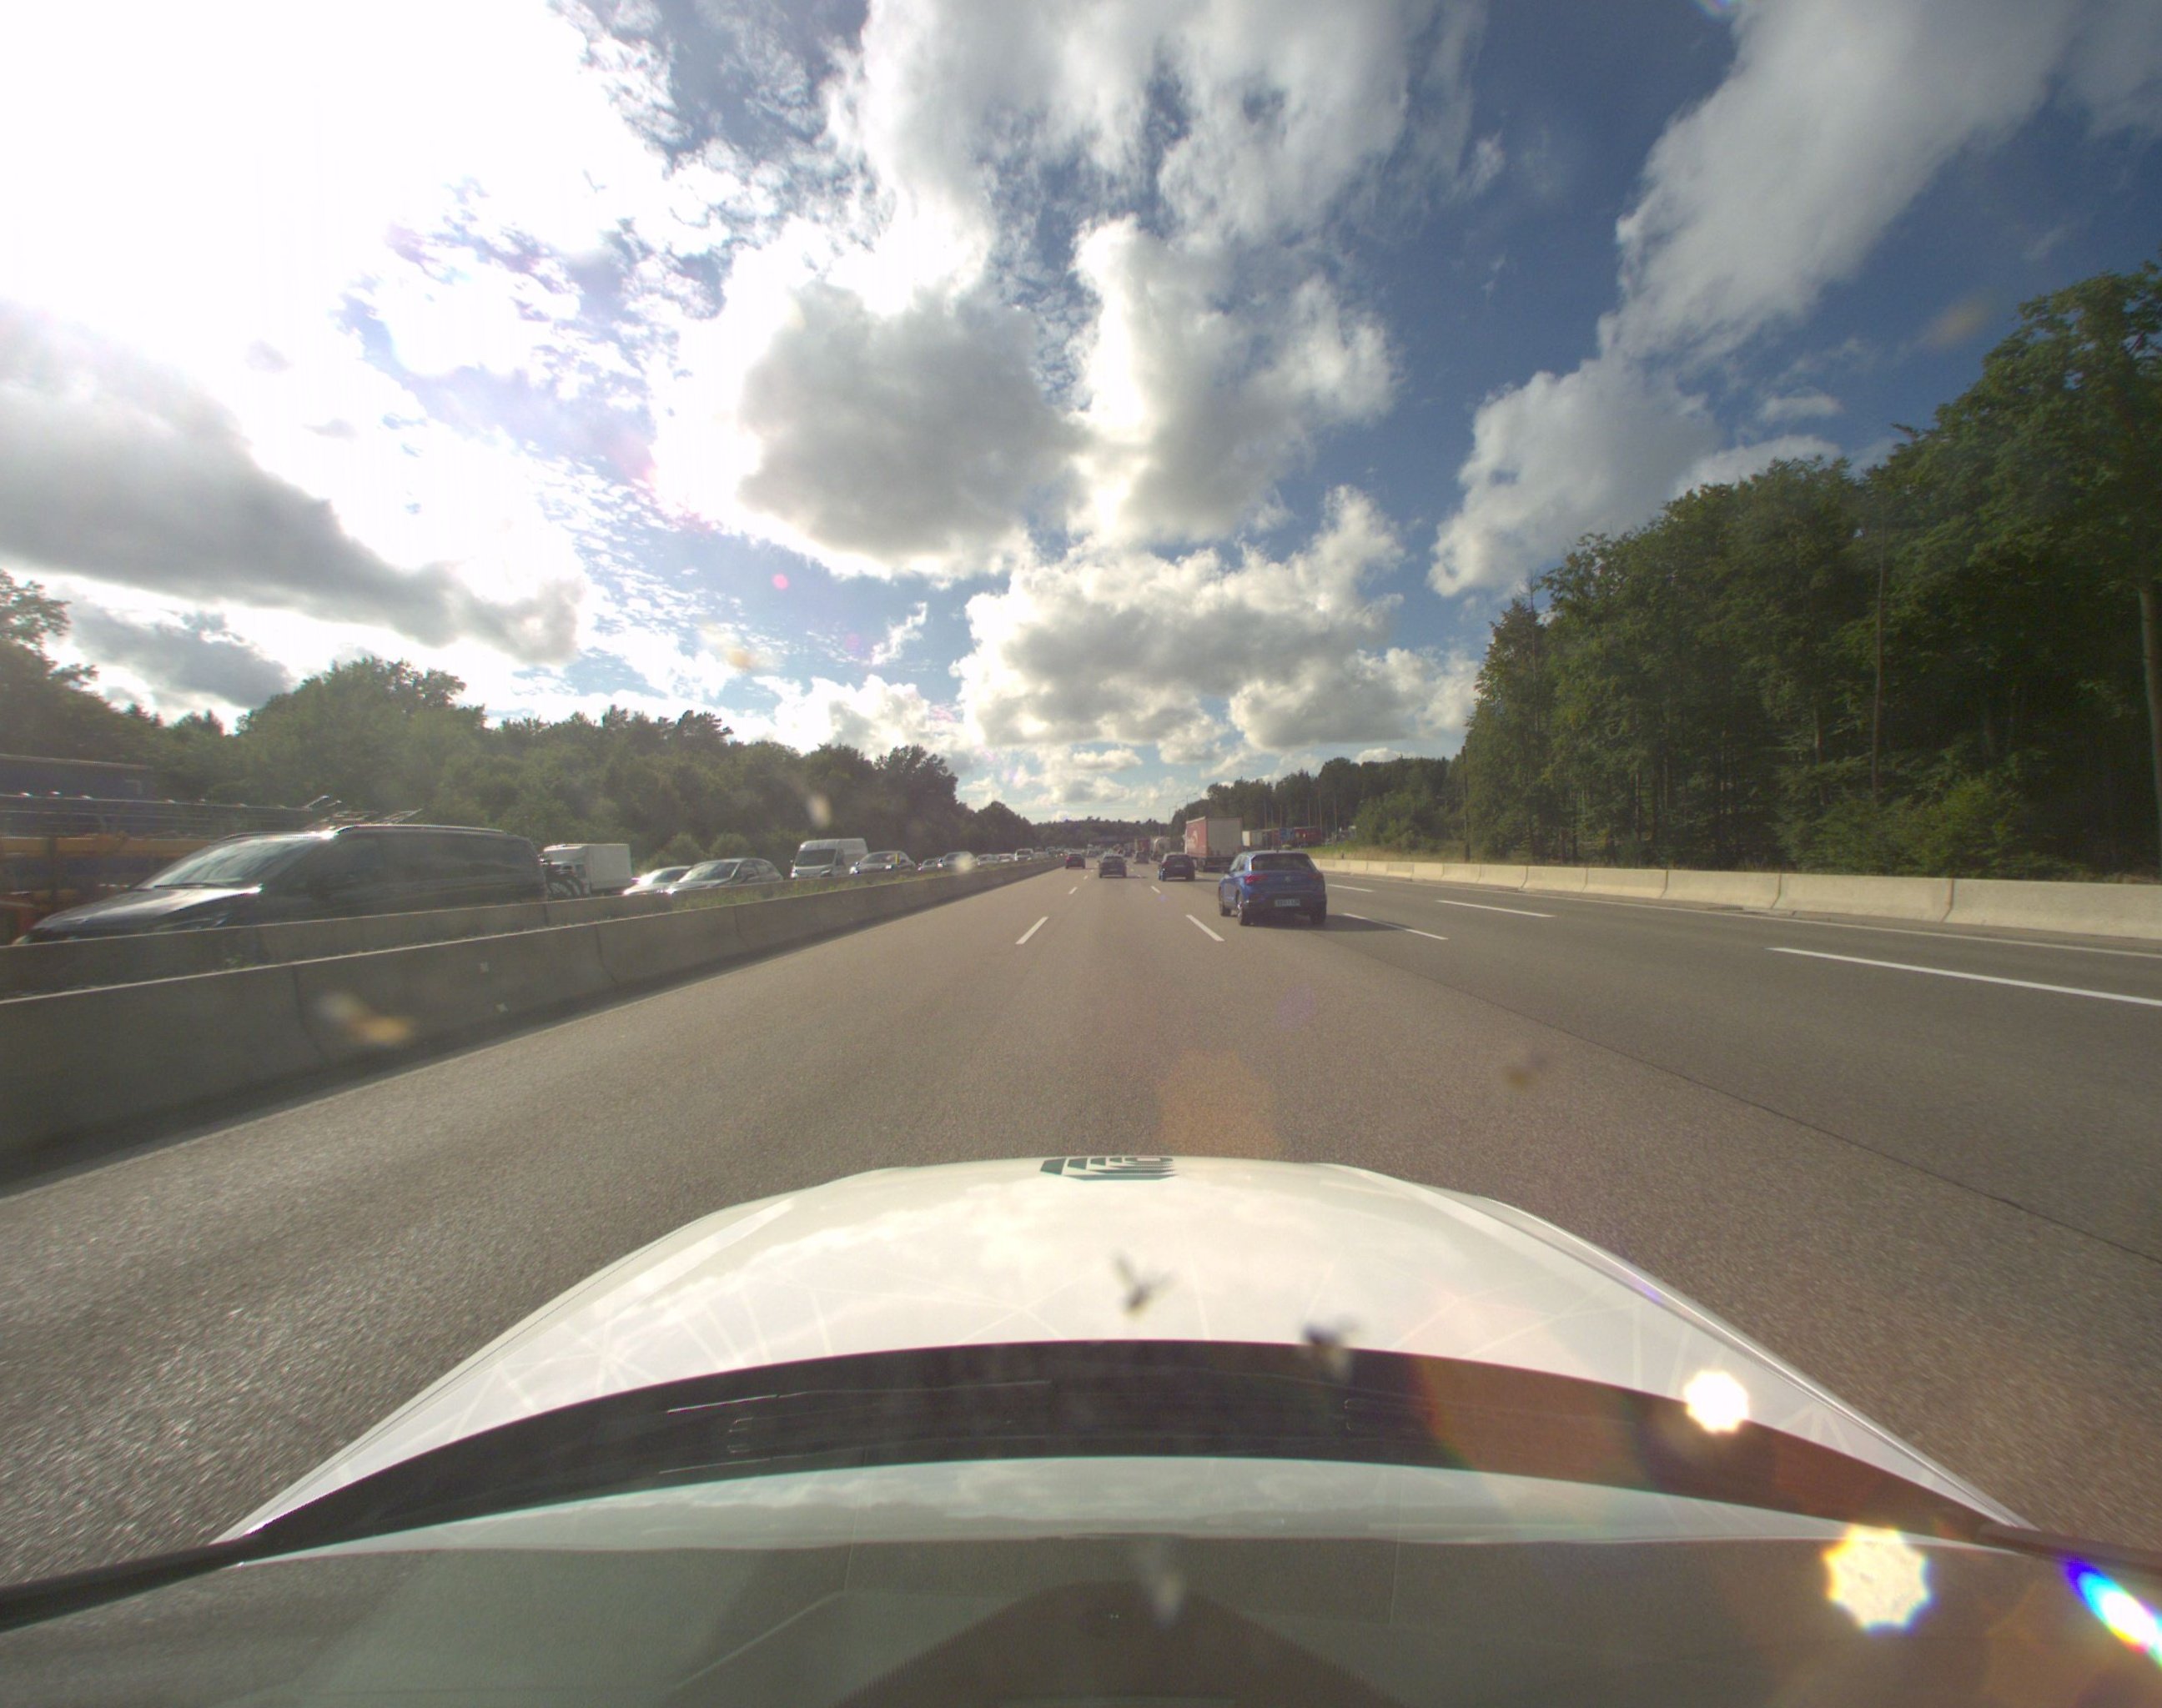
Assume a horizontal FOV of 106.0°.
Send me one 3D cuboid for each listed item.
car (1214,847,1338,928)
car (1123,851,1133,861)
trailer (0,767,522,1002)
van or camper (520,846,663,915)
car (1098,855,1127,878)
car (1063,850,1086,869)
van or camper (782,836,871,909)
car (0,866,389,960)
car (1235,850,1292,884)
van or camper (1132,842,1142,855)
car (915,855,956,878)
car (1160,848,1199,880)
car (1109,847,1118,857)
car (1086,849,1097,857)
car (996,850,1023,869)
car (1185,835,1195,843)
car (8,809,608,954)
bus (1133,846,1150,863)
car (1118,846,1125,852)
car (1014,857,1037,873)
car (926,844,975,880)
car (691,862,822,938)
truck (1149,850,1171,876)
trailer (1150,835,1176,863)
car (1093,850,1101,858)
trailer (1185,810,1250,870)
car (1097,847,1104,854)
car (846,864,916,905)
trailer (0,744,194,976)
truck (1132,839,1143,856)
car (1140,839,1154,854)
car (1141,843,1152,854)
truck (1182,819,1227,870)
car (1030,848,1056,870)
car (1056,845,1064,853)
[{"bbox_3d":[4.222,0.647,18.377,1.916,1.541,4.650,1,1,3],"label":"car"},{"bbox_3d":[9.731,0.415,169.593,1.986,2.014,4.001,0,-1,2],"label":"car"},{"bbox_3d":[-16.608,0.427,14.907,2.718,3.335,14.222,-1,0,1],"label":"trailer"},{"bbox_3d":[-23.927,1.208,40.321,2.563,3.077,7.197,-1,0,1],"label":"van or camper"},{"bbox_3d":[1.949,0.774,51.752,1.728,1.365,4.000,0,0,0],"label":"car"},{"bbox_3d":[-0.590,0.498,79.597,1.986,1.776,4.002,0,0,2],"label":"car"},{"bbox_3d":[-11.883,0.816,38.582,2.131,3.172,6.245,0,0,1],"label":"van or camper"},{"bbox_3d":[-12.793,0.759,12.085,1.579,1.127,4.001,0,0,1],"label":"car"},{"bbox_3d":[8.746,0.617,39.322,1.710,1.511,4.300,-2,-1,-1],"label":"car"},{"bbox_3d":[13.494,-1.294,195.886,2.341,3.144,5.715,-1,-1,3],"label":"van or camper"},{"bbox_3d":[-10.735,0.955,60.401,1.985,1.596,4.527,0,-1,3],"label":"car"},{"bbox_3d":[5.328,0.549,44.265,1.792,1.644,4.002,0,-1,2],"label":"car"},{"bbox_3d":[7.591,-0.444,189.321,1.986,2.014,4.001,-2,-2,2],"label":"car"},{"bbox_3d":[2.157,-0.213,172.242,2.146,1.776,4.002,0,-1,2],"label":"car"},{"bbox_3d":[-6.721,0.506,76.895,1.986,1.735,5.093,0,0,2],"label":"car"},{"bbox_3d":[28.334,-3.892,211.625,1.986,2.013,4.002,-2,0,2],"label":"car"},{"bbox_3d":[-8.977,0.260,10.667,1.808,1.349,6.234,0,0,1],"label":"car"},{"bbox_3d":[7.453,0.041,101.005,1.986,2.014,4.002,-1,-1,2],"label":"bus"},{"bbox_3d":[12.905,-1.597,259.038,1.986,2.014,4.002,0,0,2],"label":"car"},{"bbox_3d":[-6.066,1.193,89.621,1.985,1.572,4.819,-1,0,3],"label":"car"},{"bbox_3d":[-7.573,0.431,47.575,1.874,2.013,4.523,0,0,3],"label":"car"},{"bbox_3d":[-8.494,1.158,21.740,1.681,1.816,4.296,-1,-1,1],"label":"car"},{"bbox_3d":[12.789,1.438,132.279,3.034,4.160,7.130,-1,-1,2],"label":"truck"},{"bbox_3d":[12.584,-0.654,126.044,3.025,4.016,12.248,-1,-1,2],"label":"trailer"},{"bbox_3d":[3.904,0.001,201.004,1.986,2.013,4.002,0,0,2],"label":"car"},{"bbox_3d":[10.206,-0.802,62.555,3.027,4.035,13.894,-1,-1,2],"label":"trailer"},{"bbox_3d":[5.708,-1.101,239.792,1.986,2.013,4.002,-2,0,2],"label":"car"},{"bbox_3d":[-8.409,1.258,34.562,1.829,1.591,4.290,0,0,1],"label":"car"},{"bbox_3d":[-20.737,0.114,10.501,2.798,4.119,14.050,0,0,2],"label":"trailer"},{"bbox_3d":[13.117,-1.475,188.981,2.348,3.572,11.275,-1,-1,3],"label":"truck"},{"bbox_3d":[13.893,-1.610,171.632,2.854,2.992,5.153,-1,-1,3],"label":"car"},{"bbox_3d":[13.029,-1.068,161.226,1.986,2.014,4.001,-1,-1,2],"label":"car"},{"bbox_3d":[10.431,-0.705,69.300,3.068,4.064,6.071,-1,-2,2],"label":"truck"},{"bbox_3d":[-3.508,0.422,75.927,1.985,1.920,4.003,-1,1,3],"label":"car"},{"bbox_3d":[-5.818,-1.310,226.655,1.986,2.013,4.002,-2,0,2],"label":"car"}]
